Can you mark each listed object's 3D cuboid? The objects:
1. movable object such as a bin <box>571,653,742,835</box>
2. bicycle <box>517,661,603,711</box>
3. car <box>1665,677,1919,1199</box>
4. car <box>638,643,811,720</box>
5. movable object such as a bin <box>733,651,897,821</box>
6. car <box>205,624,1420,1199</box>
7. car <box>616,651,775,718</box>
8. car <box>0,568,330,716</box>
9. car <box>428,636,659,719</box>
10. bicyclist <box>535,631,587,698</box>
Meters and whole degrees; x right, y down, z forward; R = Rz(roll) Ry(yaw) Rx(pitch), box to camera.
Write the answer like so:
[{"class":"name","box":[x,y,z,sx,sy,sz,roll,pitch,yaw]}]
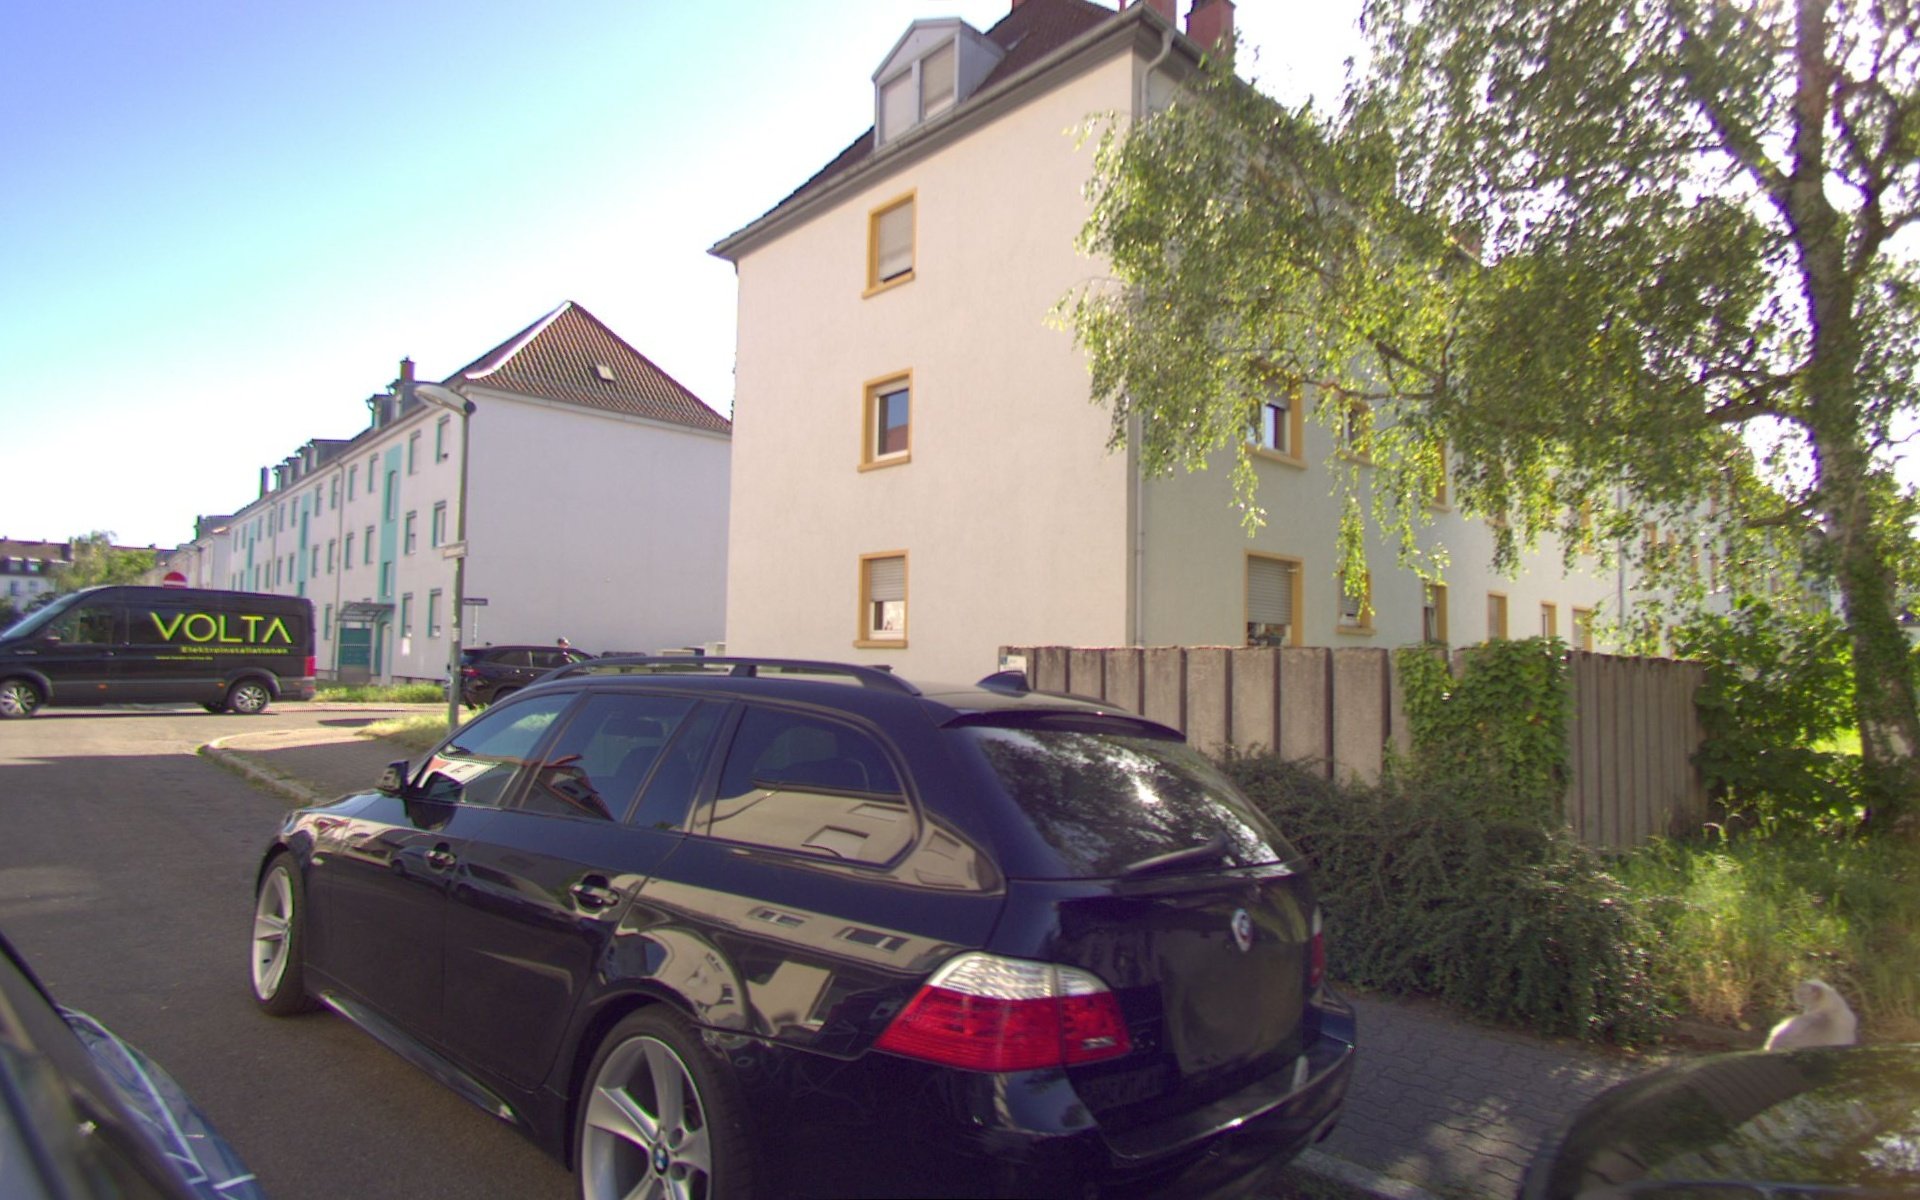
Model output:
[{"class":"movable object such as a bin","box":[-2.605,1.171,8.638,0.767,1.403,1.418,6,-6,-45]},{"class":"bicycle","box":[-9.785,2.109,24.804,0.629,1.123,1.791,-1,-7,41]},{"class":"car","box":[2.887,0.853,0.311,4.274,1.453,1.662,-2,-8,39]},{"class":"car","box":[-6.024,2.125,26.190,3.943,1.802,1.721,7,-6,-43]},{"class":"movable object such as a bin","box":[-1.282,1.165,9.025,1.204,1.391,0.768,4,-5,-40]},{"class":"car","box":[-1.044,0.943,3.609,4.619,1.464,1.660,-3,-9,42]},{"class":"car","box":[-7.546,2.458,29.090,3.939,1.708,1.867,8,-8,-43]},{"class":"car","box":[-16.189,0.925,20.032,1.997,2.564,5.883,-2,-6,38]},{"class":"car","box":[-9.326,1.798,22.931,4.435,1.676,1.721,7,-6,-43]},{"class":"bicyclist","box":[-9.781,1.585,24.830,0.597,1.591,0.895,-2,-7,40]}]
